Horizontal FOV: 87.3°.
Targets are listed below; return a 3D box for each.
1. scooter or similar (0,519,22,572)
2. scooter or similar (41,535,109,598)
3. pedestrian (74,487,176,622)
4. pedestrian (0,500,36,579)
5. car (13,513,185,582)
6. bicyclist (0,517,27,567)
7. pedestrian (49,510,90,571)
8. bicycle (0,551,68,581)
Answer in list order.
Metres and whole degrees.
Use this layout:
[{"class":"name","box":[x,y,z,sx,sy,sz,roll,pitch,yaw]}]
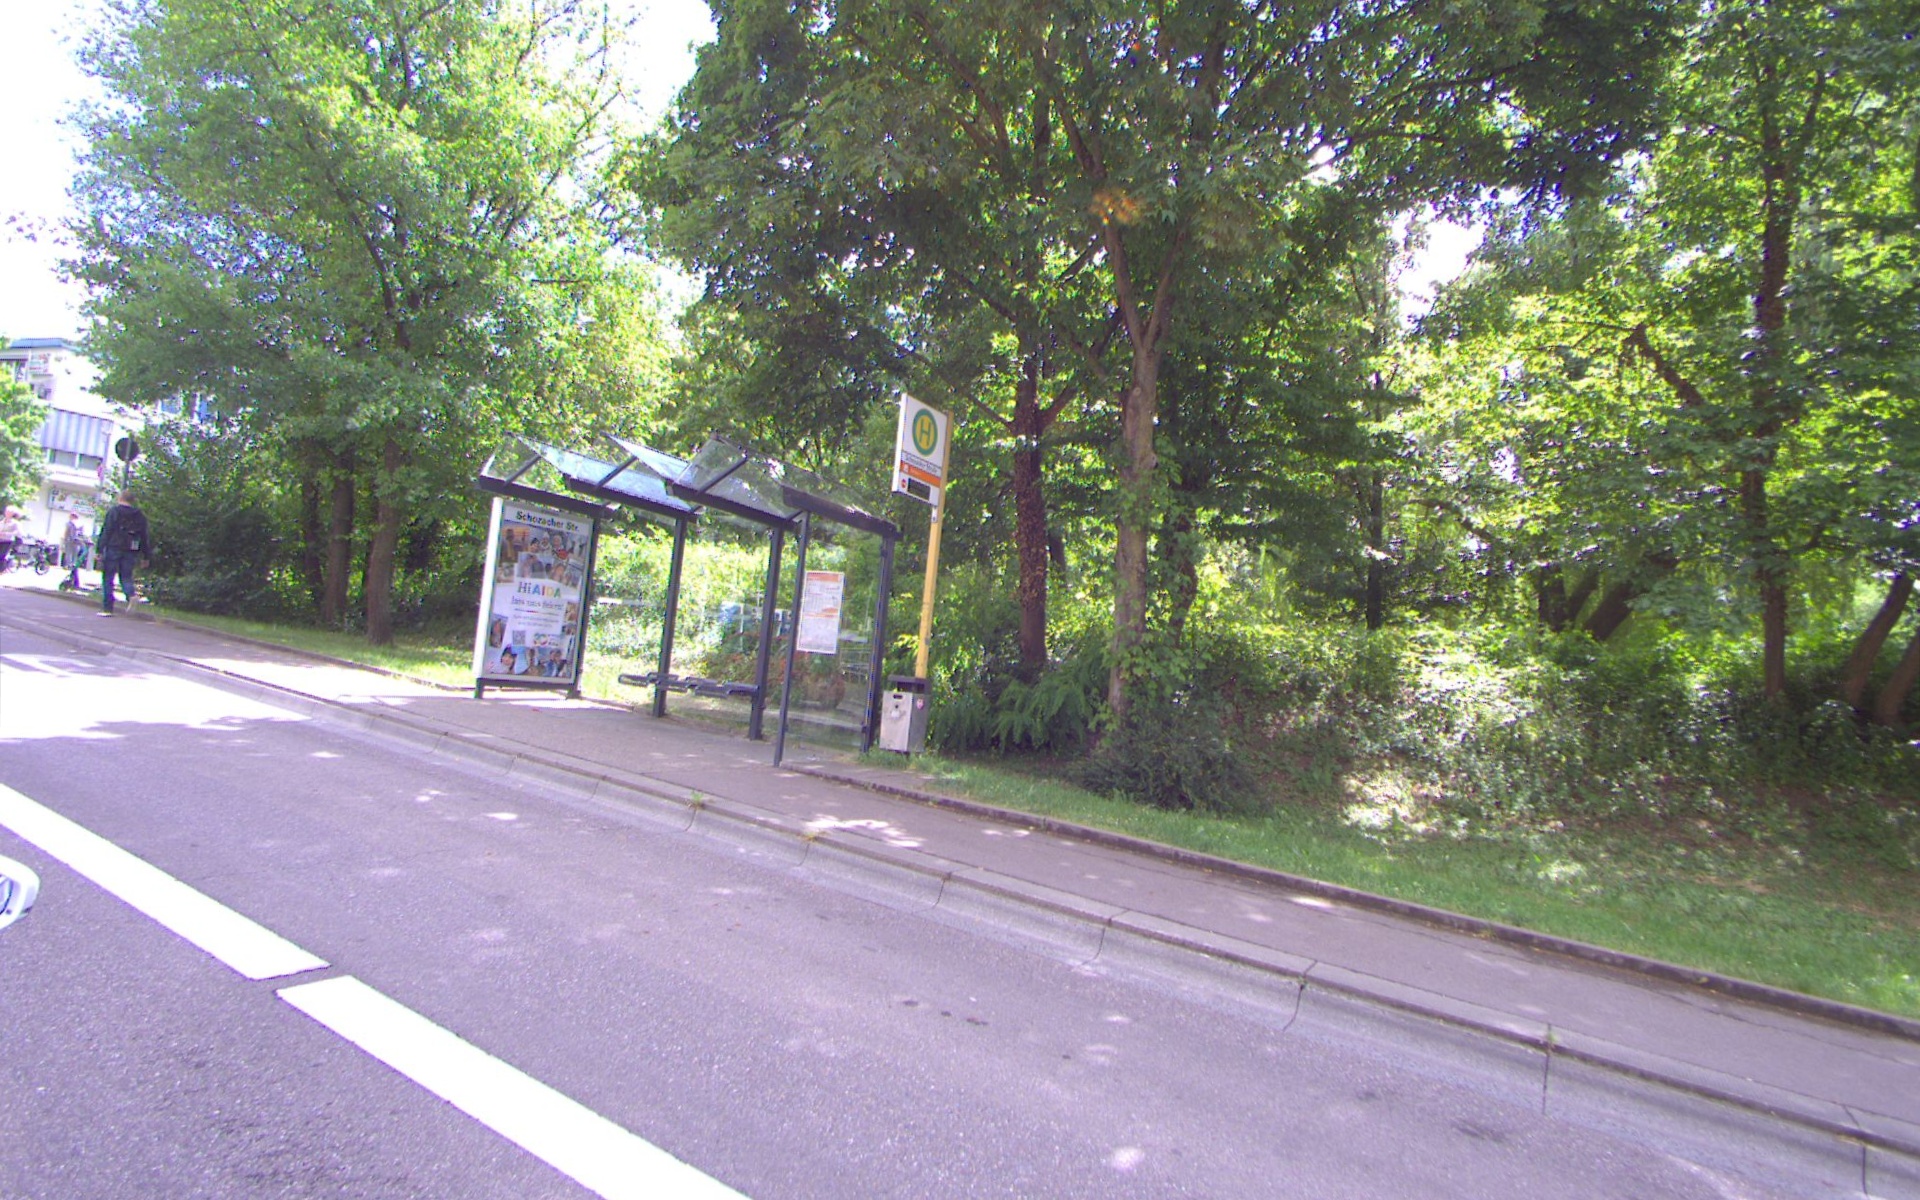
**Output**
[{"class":"scooter or similar","box":[-24.817,-1.461,25.603,0.546,1.286,1.153,6,-3,34]},{"class":"scooter or similar","box":[-20.349,-0.771,23.139,0.447,1.242,0.893,6,-6,32]},{"class":"pedestrian","box":[-12.655,-0.691,15.246,0.998,1.898,0.796,6,-1,37]},{"class":"pedestrian","box":[-22.537,-1.438,23.853,0.509,1.787,0.637,6,-1,31]},{"class":"car","box":[-33.305,-1.983,39.081,1.964,2.037,4.549,6,-1,24]},{"class":"bicyclist","box":[-23.978,-1.466,25.376,0.493,1.171,0.399,7,1,19]},{"class":"pedestrian","box":[-26.515,-1.765,29.957,0.652,1.733,0.458,8,-1,-30]},{"class":"bicycle","box":[-23.935,-0.885,25.712,0.524,0.617,1.592,7,-2,19]}]
